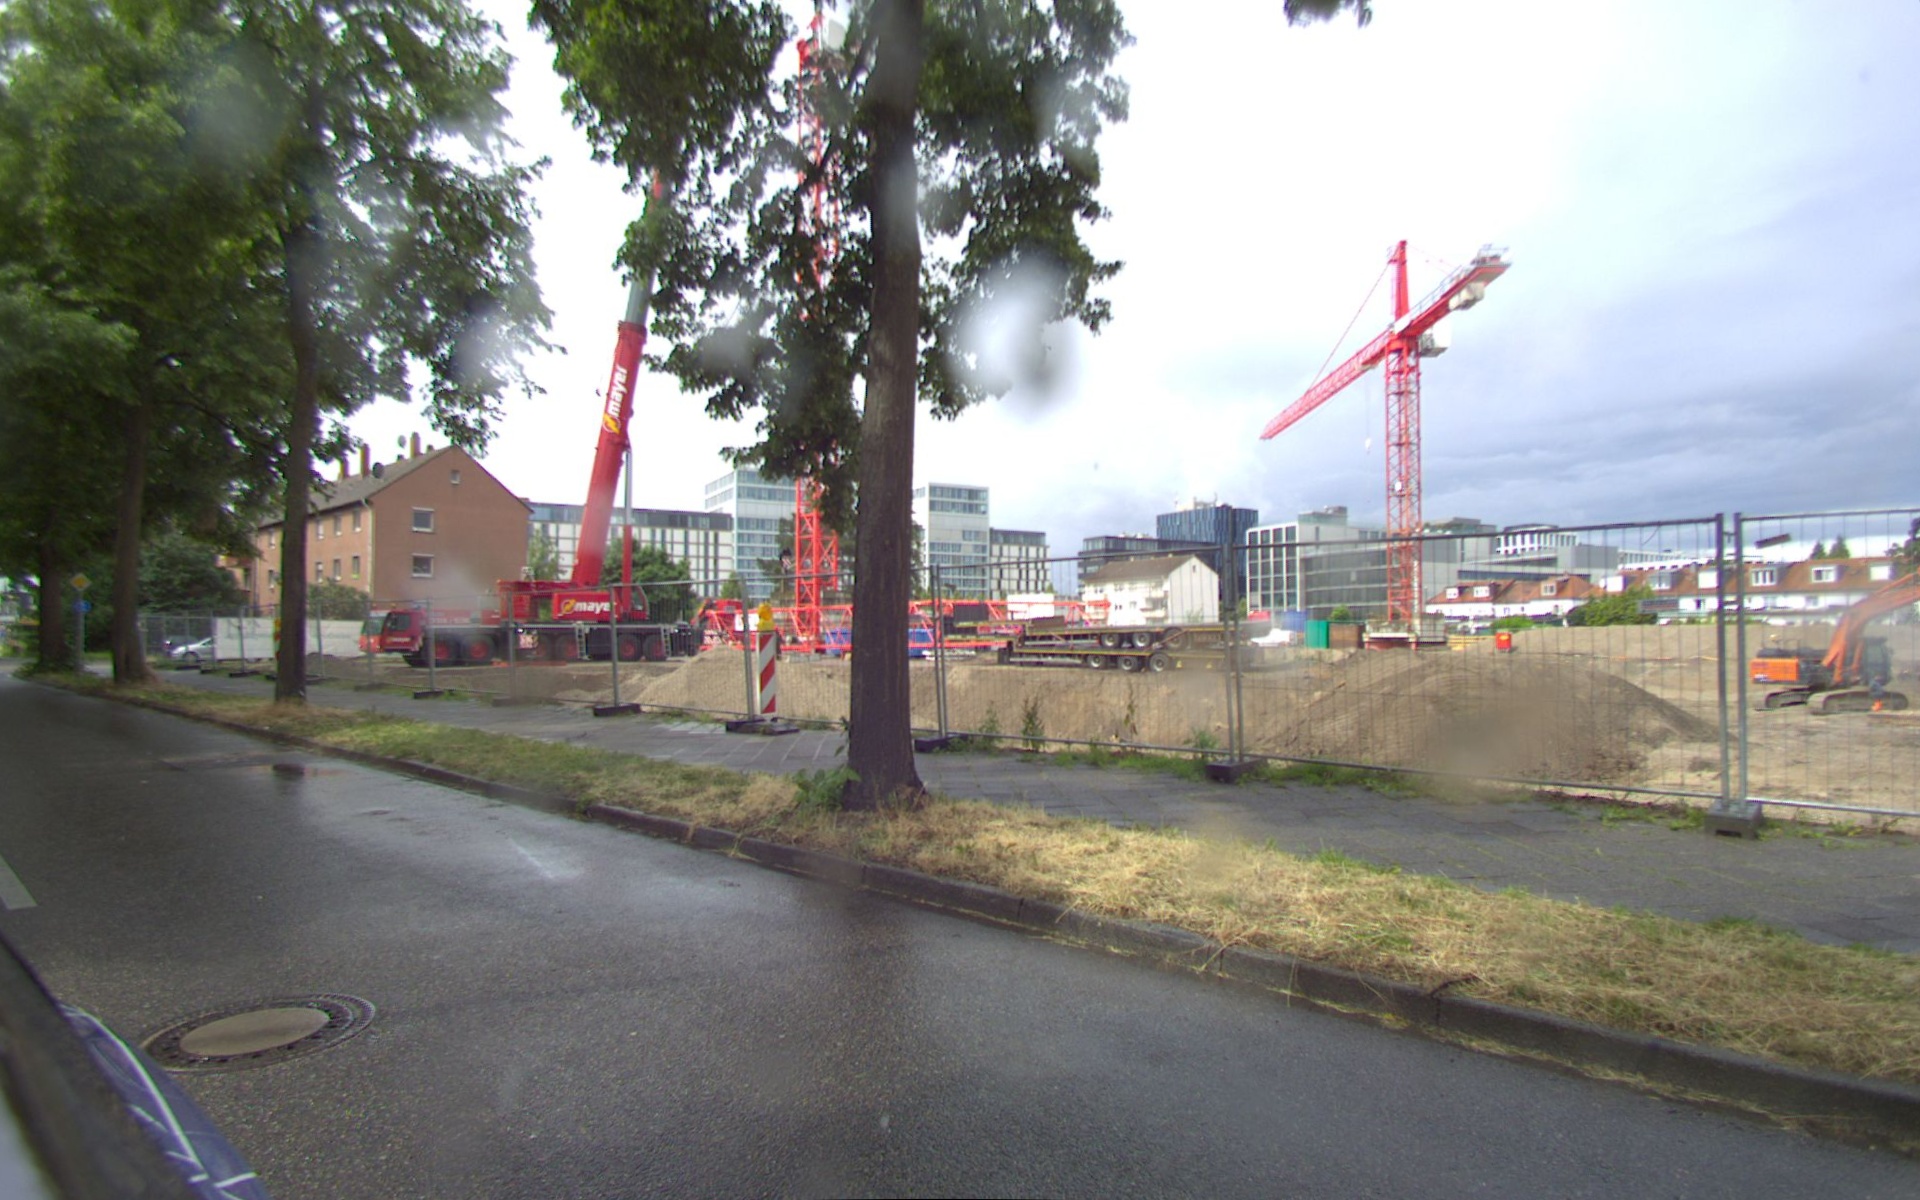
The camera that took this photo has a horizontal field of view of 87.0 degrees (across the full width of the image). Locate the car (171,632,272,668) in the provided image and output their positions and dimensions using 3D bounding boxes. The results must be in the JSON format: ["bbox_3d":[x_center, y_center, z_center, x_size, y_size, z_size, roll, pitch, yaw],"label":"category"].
[{"bbox_3d":[-36.330,2.431,49.891,3.806,1.564,1.703,-1,0,-29],"label":"car"}]

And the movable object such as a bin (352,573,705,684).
[{"bbox_3d":[-20.045,1.142,48.870,3.102,4.592,15.727,-1,0,44],"label":"movable object such as a bin"}]

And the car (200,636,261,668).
[{"bbox_3d":[-38.550,2.701,53.457,3.996,1.541,1.672,-1,0,39],"label":"car"}]

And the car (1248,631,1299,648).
[{"bbox_3d":[31.678,3.986,102.251,4.582,1.529,1.797,-1,0,44],"label":"car"}]

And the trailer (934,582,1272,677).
[{"bbox_3d":[5.254,1.129,41.296,14.302,3.257,2.930,-1,1,41],"label":"trailer"}]

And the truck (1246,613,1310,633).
[{"bbox_3d":[33.588,2.458,107.021,6.292,2.095,1.884,-1,0,25],"label":"truck"}]
